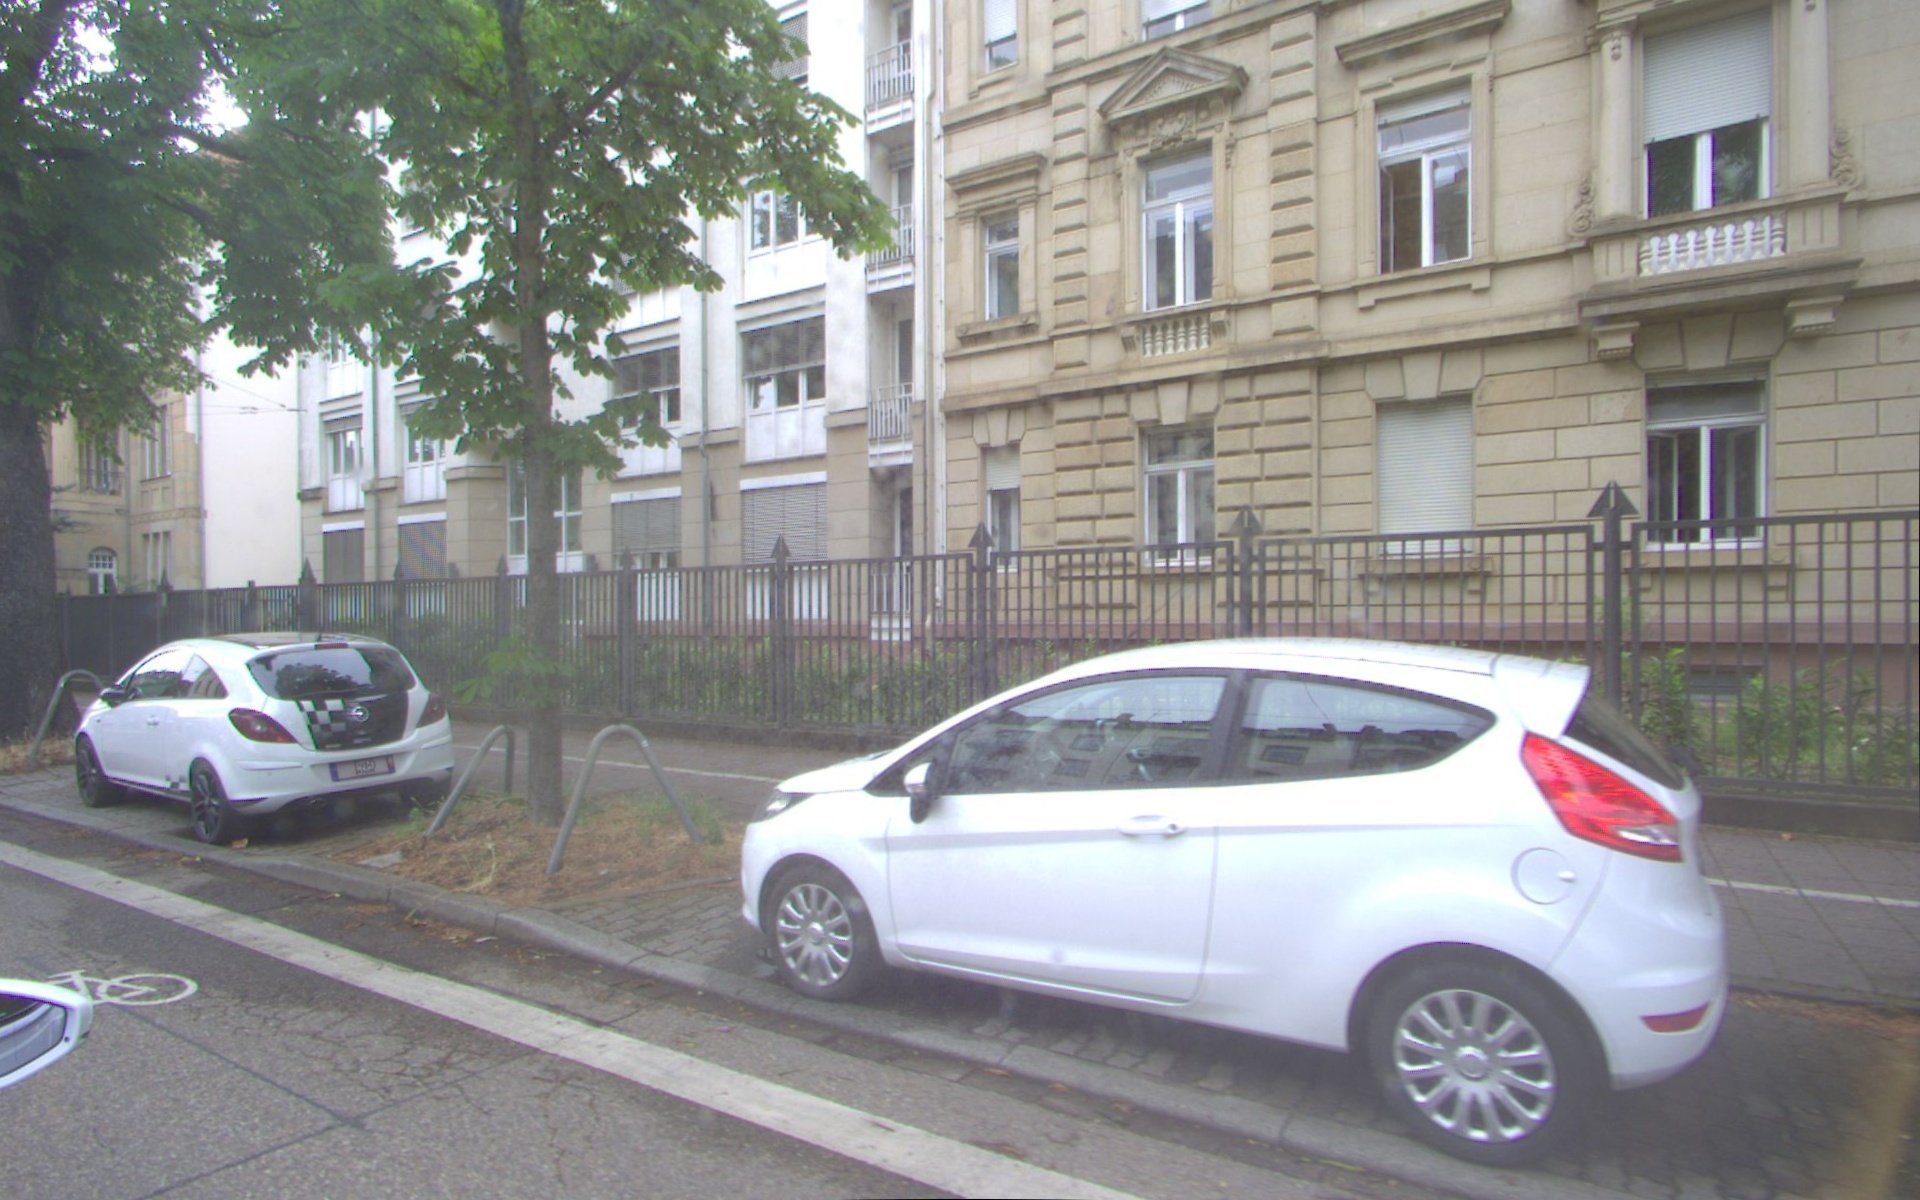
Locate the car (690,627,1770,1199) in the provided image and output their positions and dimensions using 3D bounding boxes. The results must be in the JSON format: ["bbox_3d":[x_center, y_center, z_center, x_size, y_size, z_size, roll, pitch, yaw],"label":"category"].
[{"bbox_3d":[0.816,0.882,4.111,3.711,1.455,1.623,-1,1,32],"label":"car"}]

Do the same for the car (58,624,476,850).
[{"bbox_3d":[-5.924,0.970,8.462,3.724,1.455,1.598,-1,1,33],"label":"car"}]
